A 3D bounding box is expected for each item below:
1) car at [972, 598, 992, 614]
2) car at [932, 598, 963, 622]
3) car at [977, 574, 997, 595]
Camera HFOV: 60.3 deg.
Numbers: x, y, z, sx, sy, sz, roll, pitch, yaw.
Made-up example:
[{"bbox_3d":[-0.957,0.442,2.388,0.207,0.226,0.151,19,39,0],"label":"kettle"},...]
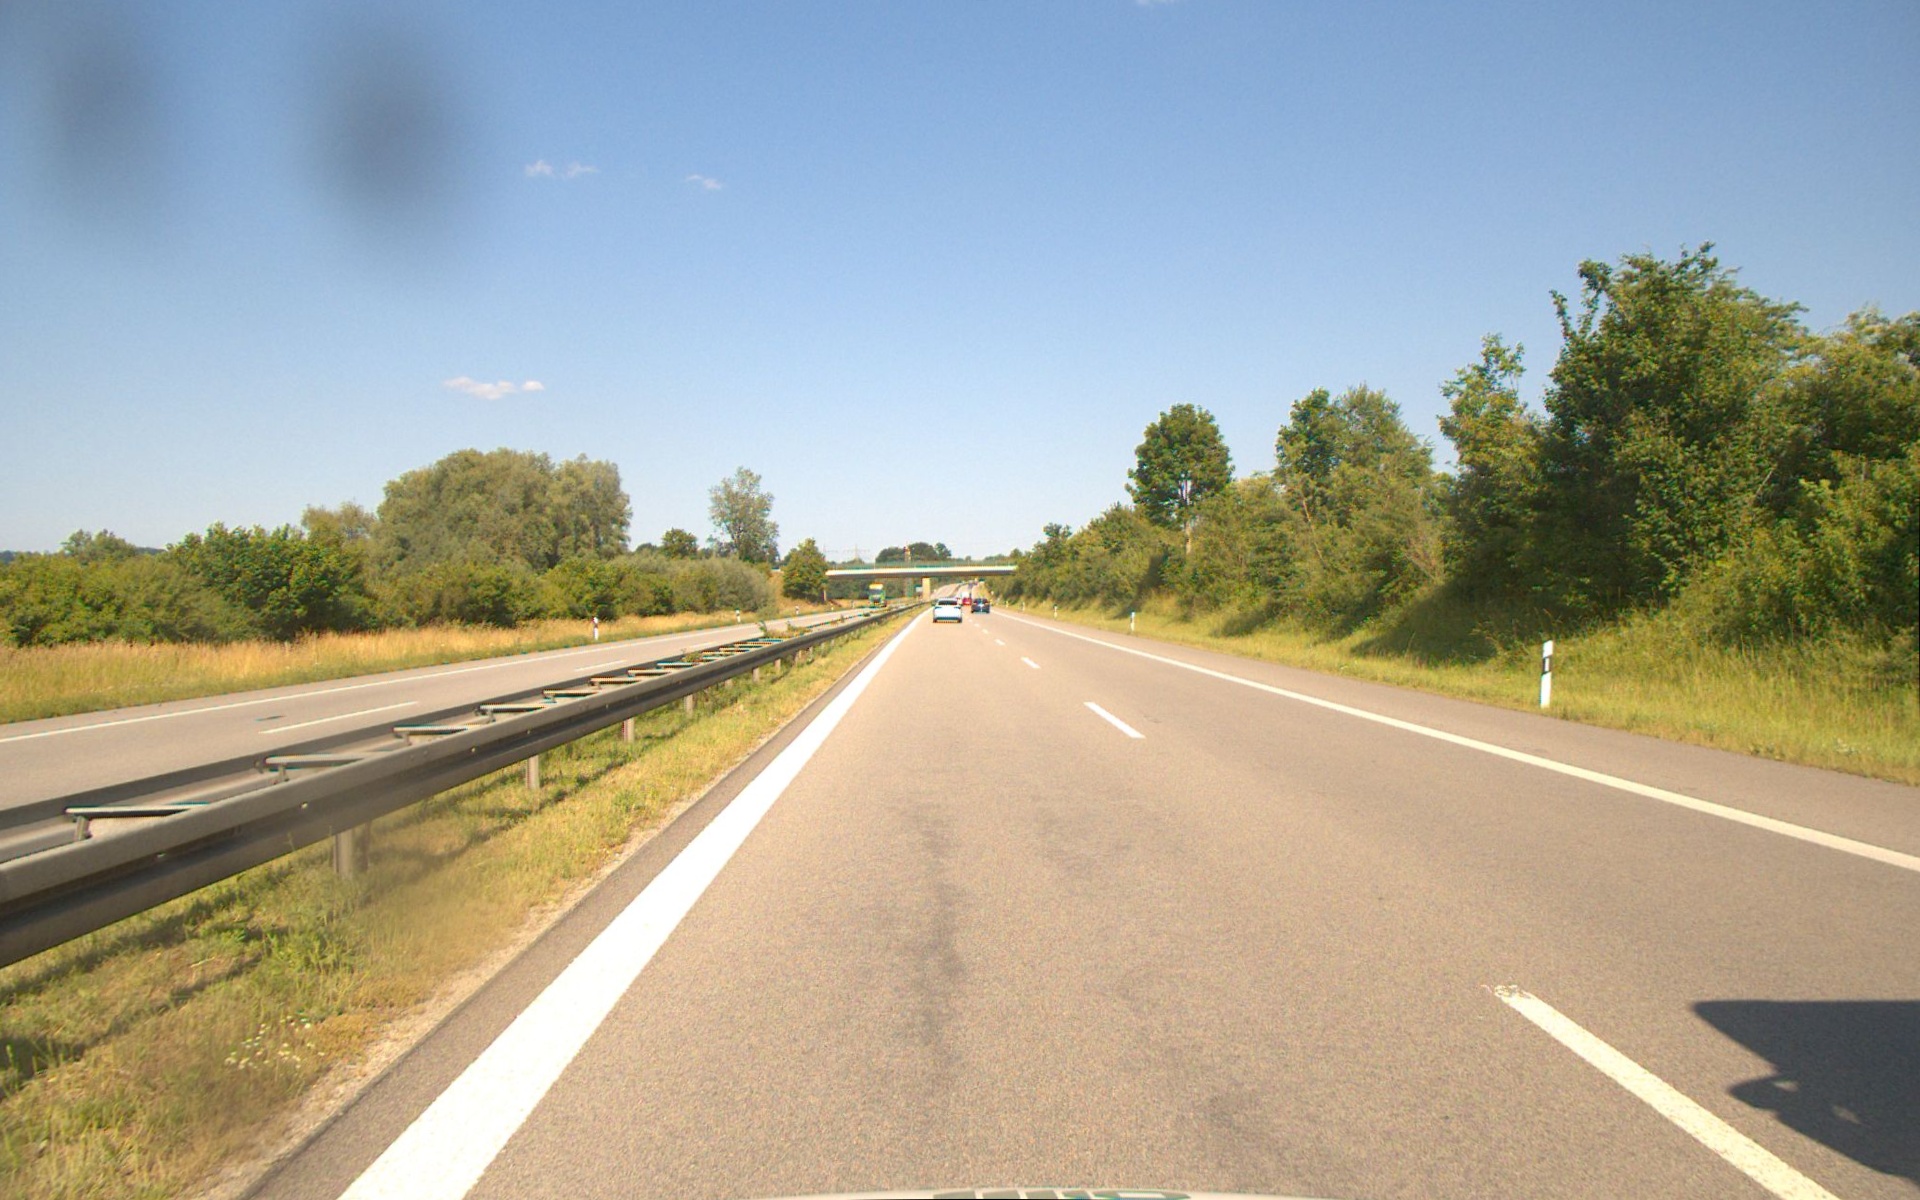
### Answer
[{"bbox_3d":[2.155,0.591,162.100,1.805,1.546,3.999,1,0,-1],"label":"car"},{"bbox_3d":[-0.779,0.603,100.436,1.805,1.440,3.999,1,0,-1],"label":"car"},{"bbox_3d":[2.771,-1.596,172.438,1.953,2.049,3.999,1,0,-1],"label":"car"}]
